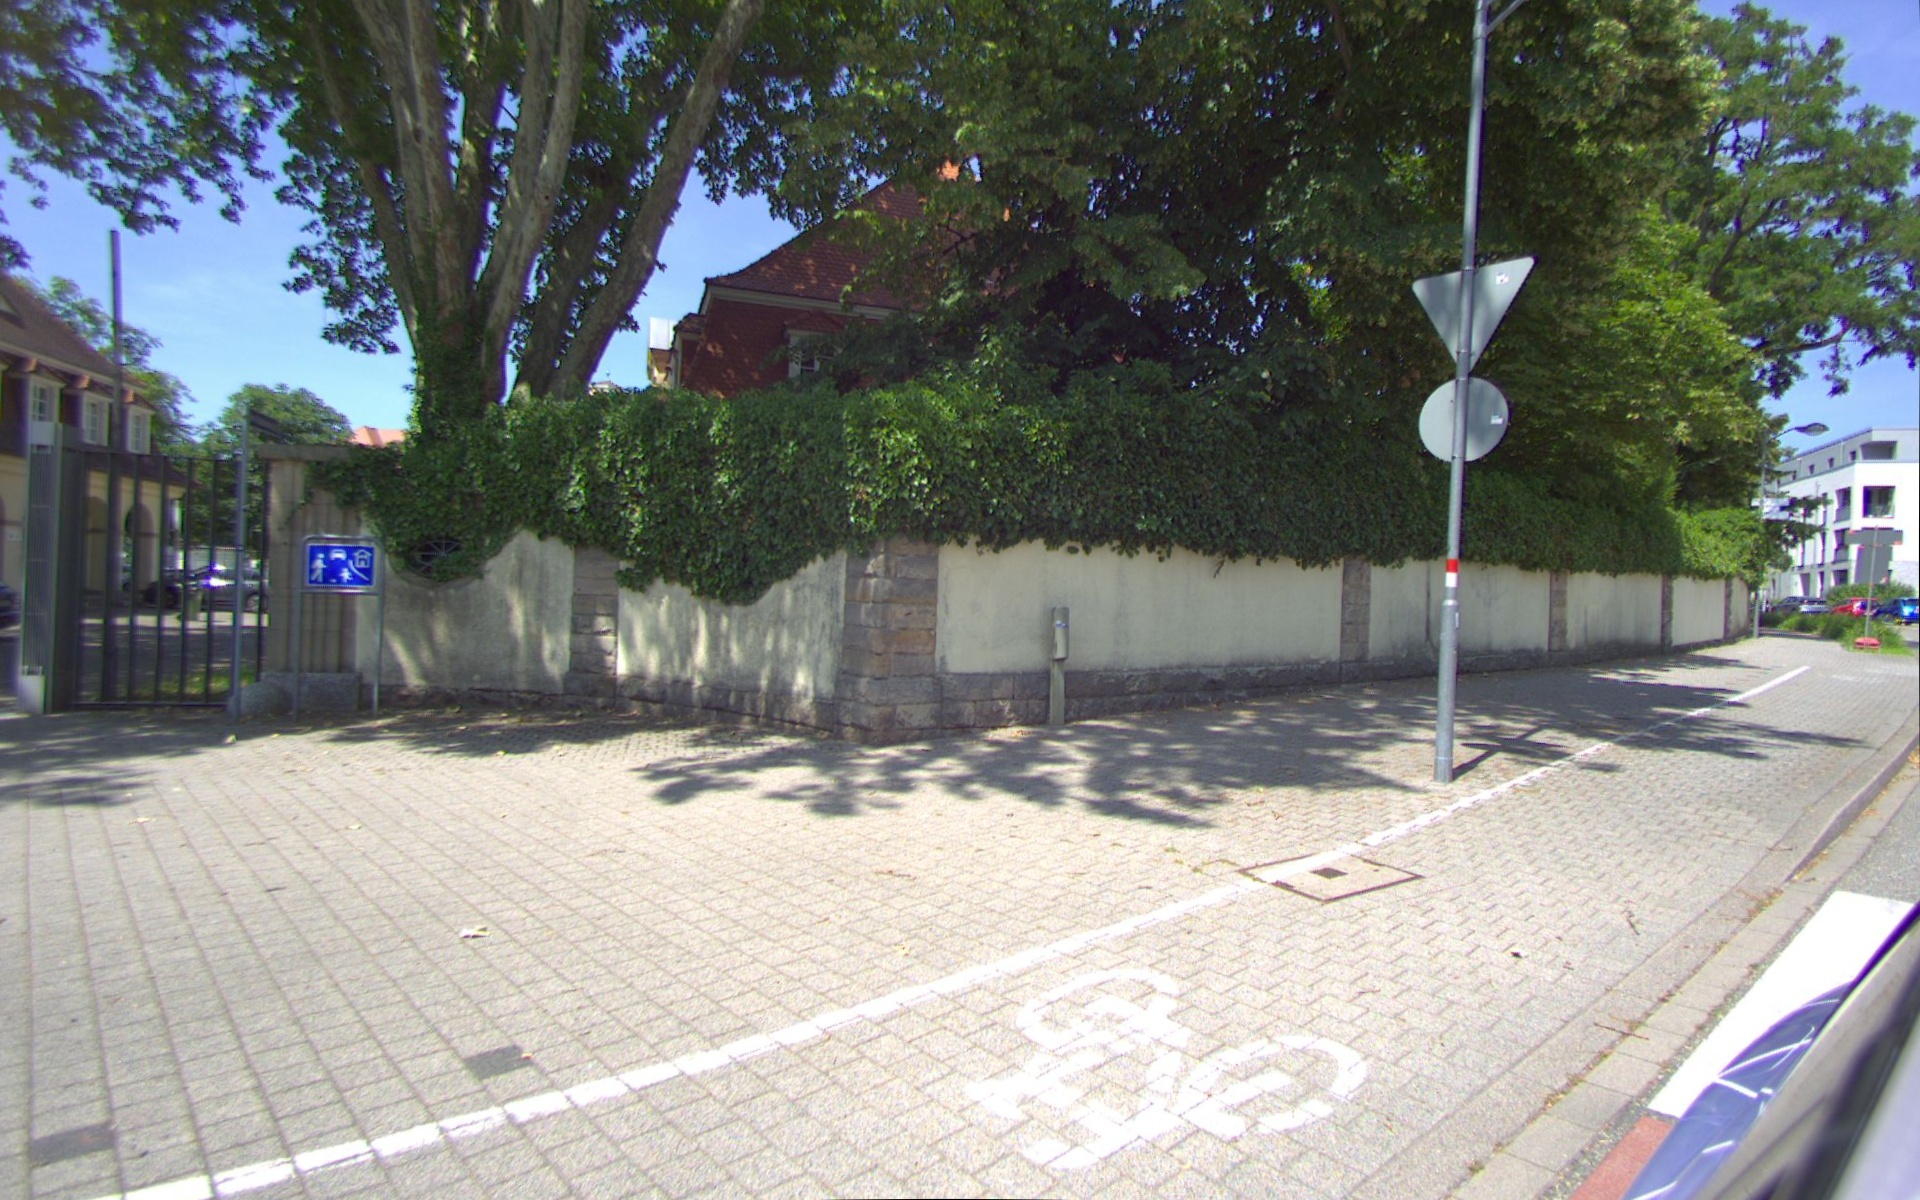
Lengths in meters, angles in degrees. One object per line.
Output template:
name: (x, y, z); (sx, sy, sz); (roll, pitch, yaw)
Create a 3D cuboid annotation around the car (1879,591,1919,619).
car: (50.966, 0.271, 53.874); (1.685, 1.431, 3.699); (1, 1, 19)

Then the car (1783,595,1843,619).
car: (54.892, 0.442, 65.183); (1.685, 1.431, 3.699); (1, 1, 19)

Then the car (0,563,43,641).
car: (-20.268, -0.136, 18.708); (4.407, 1.420, 2.004); (5, 0, -14)

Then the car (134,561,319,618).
car: (-24.007, -0.347, 33.316); (4.407, 1.420, 2.004); (5, 0, -14)

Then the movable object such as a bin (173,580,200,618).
movable object such as a bin: (-21.247, -0.033, 27.790); (0.526, 1.021, 0.530); (1, 1, 45)

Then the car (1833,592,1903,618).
car: (52.863, 0.257, 59.010); (1.685, 1.431, 3.699); (1, 1, 19)
